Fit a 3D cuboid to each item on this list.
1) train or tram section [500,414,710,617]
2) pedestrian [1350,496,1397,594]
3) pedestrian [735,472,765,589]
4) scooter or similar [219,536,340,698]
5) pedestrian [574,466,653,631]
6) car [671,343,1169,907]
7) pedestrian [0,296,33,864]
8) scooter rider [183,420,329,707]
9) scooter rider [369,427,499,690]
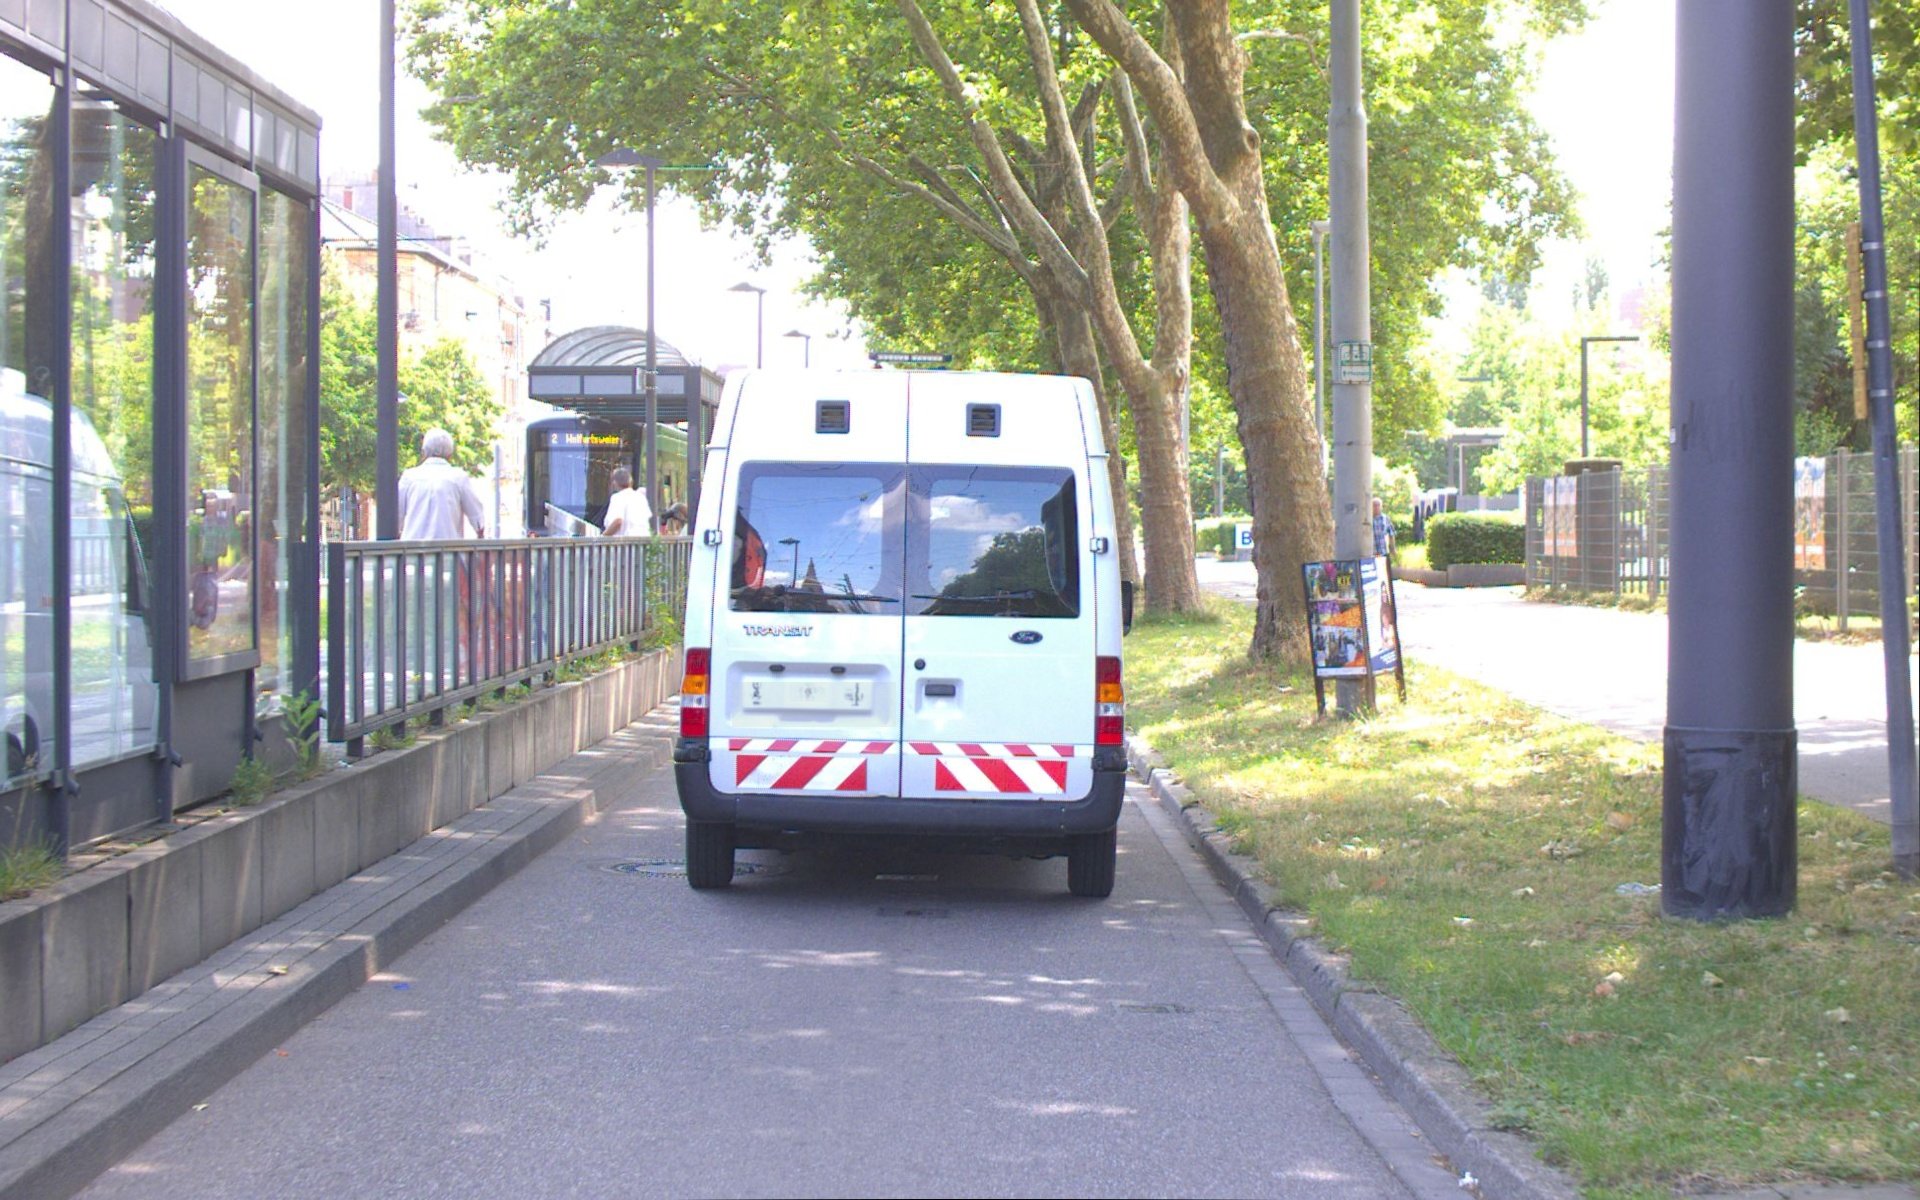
[{"bbox_3d":[-6.757,-1.638,67.337,2.723,3.572,13.017,1,1,0],"label":"train or tram section"},{"bbox_3d":[6.866,-0.922,57.161,0.693,1.620,0.637,0,1,-1],"label":"pedestrian"},{"bbox_3d":[-2.850,-0.945,46.714,0.385,1.586,0.439,0,1,-1],"label":"pedestrian"},{"bbox_3d":[-4.036,0.096,20.411,0.632,0.952,0.421,0,1,-1],"label":"scooter or similar"},{"bbox_3d":[-3.192,-0.479,31.687,0.676,1.510,0.596,0,1,-1],"label":"pedestrian"},{"bbox_3d":[-0.198,0.035,16.535,2.047,2.325,4.715,0,2,-1],"label":"car"},{"bbox_3d":[-3.002,-0.060,9.988,0.470,1.635,0.537,0,1,-1],"label":"pedestrian"},{"bbox_3d":[-4.030,-0.213,19.722,0.654,1.608,0.901,0,1,-1],"label":"scooter rider"},{"bbox_3d":[-3.195,-0.256,20.939,0.654,1.565,0.901,0,1,-1],"label":"scooter rider"}]
